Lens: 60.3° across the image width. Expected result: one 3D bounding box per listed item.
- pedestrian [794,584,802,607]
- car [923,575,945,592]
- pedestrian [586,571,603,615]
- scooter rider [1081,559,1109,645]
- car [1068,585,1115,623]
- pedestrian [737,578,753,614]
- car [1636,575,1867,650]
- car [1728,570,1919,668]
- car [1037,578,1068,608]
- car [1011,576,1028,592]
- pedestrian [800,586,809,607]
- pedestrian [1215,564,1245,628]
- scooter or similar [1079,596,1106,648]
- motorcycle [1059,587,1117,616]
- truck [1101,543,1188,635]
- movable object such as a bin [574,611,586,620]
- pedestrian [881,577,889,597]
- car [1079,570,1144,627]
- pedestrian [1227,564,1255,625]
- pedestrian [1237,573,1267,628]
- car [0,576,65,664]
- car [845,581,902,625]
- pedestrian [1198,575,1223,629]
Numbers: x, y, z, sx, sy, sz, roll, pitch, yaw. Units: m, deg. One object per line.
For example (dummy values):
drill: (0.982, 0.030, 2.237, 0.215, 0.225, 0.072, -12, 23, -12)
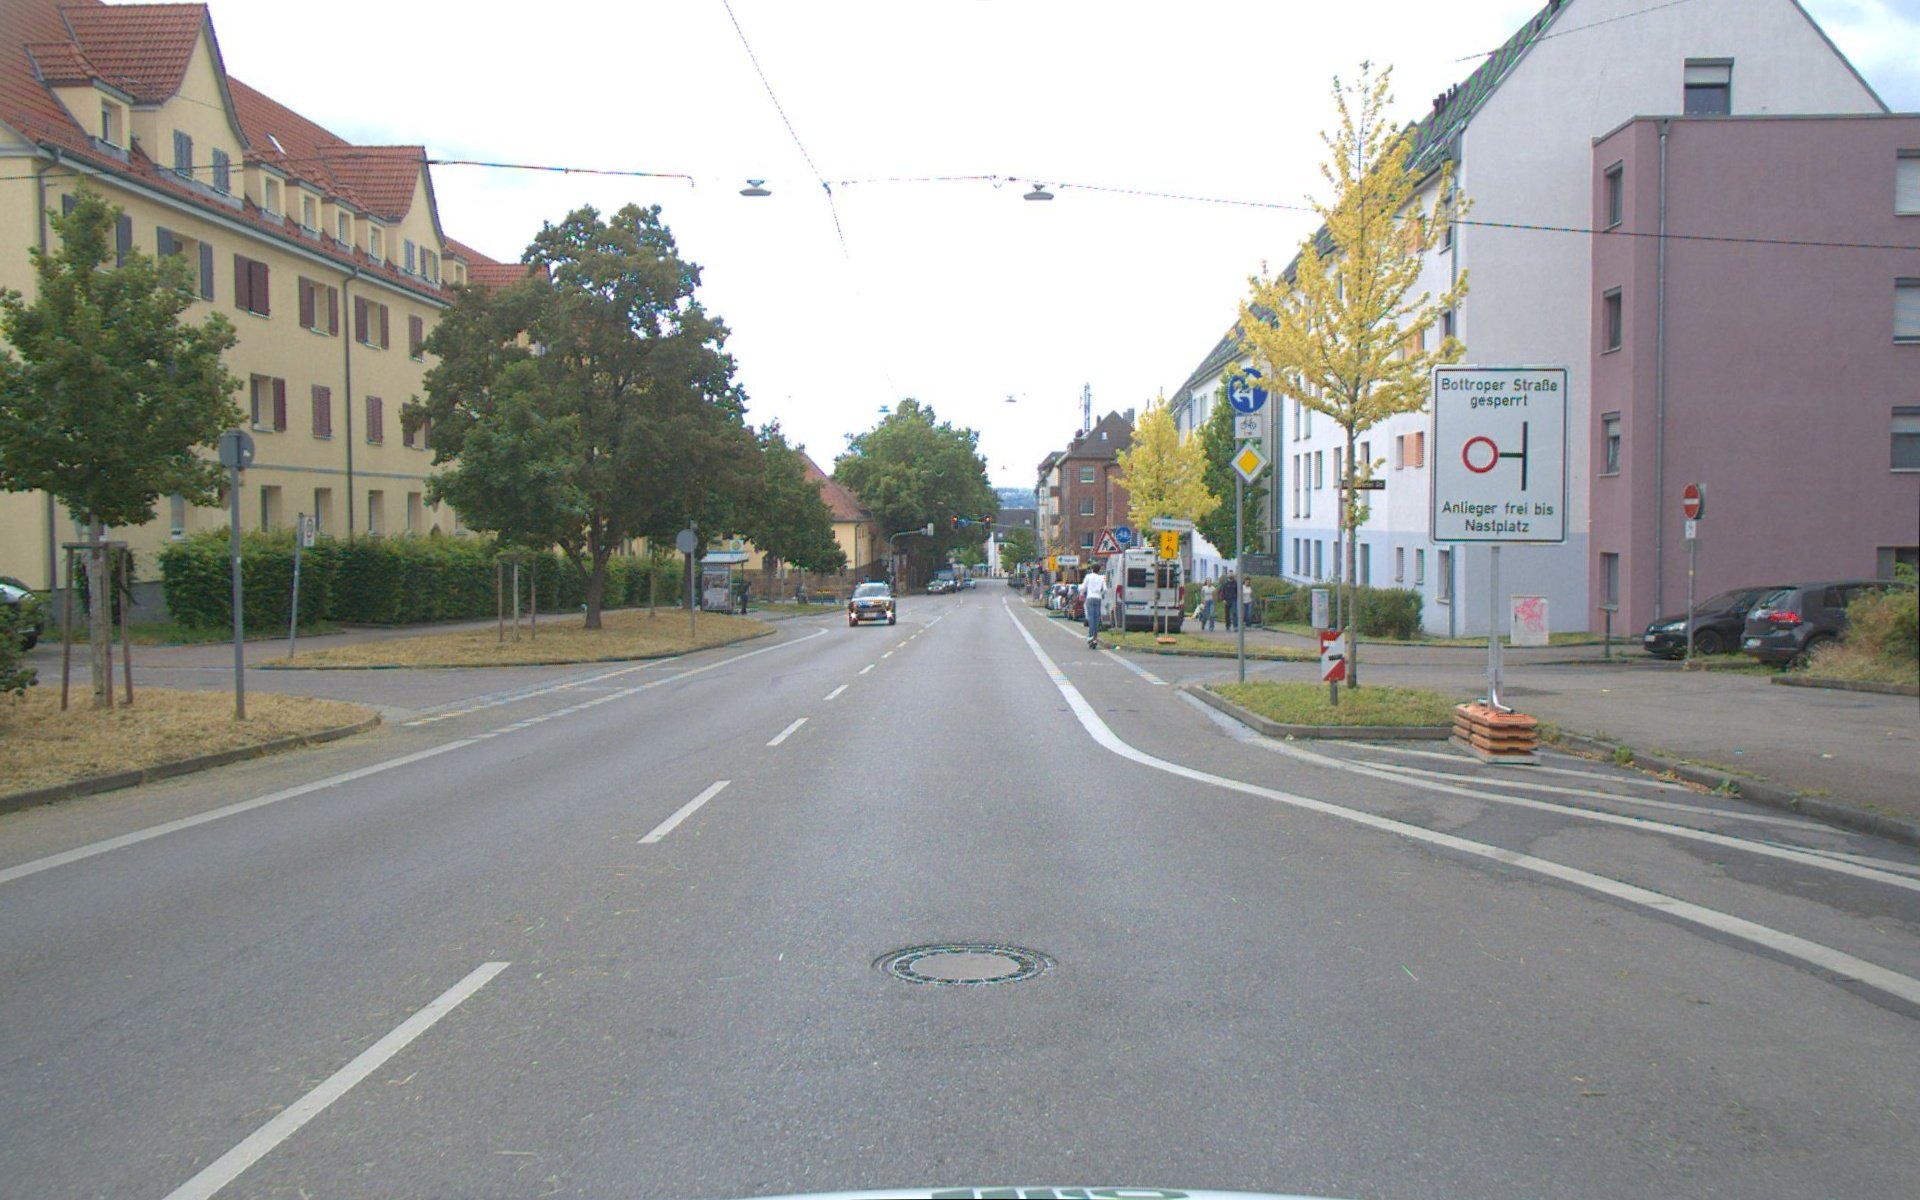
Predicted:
pedestrian: (-13.061, -0.377, 133.036, 0.552, 1.808, 0.717, 0, 1, 1)
car: (-2.447, -1.584, 158.907, 1.719, 1.498, 4.309, -1, 1, 4)
pedestrian: (-14.809, -0.287, 67.056, 0.503, 1.810, 0.753, 0, 1, 1)
scooter rider: (3.237, 0.049, 39.658, 0.612, 2.049, 0.758, 0, 1, 0)
car: (5.691, 0.143, 71.853, 1.646, 1.571, 4.339, 0, 1, 0)
pedestrian: (-10.564, -0.192, 81.257, 0.585, 1.757, 0.861, 1, 0, 3)
car: (16.167, 0.235, 33.933, 3.904, 1.481, 1.761, 0, 1, 2)
car: (14.544, 0.302, 26.257, 3.904, 1.478, 1.688, -1, -1, 1)
car: (5.817, -0.464, 103.960, 1.625, 1.745, 4.552, 1, 1, 0)
car: (7.778, -2.099, 217.354, 1.953, 1.969, 4.918, 0, 1, -2)
pedestrian: (-11.967, -0.249, 127.122, 0.552, 1.594, 0.843, 0, 1, 6)
pedestrian: (8.243, -0.122, 50.488, 0.658, 1.919, 0.764, -1, -1, -11)
scooter or similar: (3.158, 0.517, 39.545, 0.480, 1.183, 2.075, 0, 1, 0)
motorcycle: (5.776, 0.057, 74.927, 2.546, 1.301, 0.753, 0, 1, -3)
truck: (5.506, -0.356, 50.081, 2.010, 2.610, 5.690, 0, 1, 0)
movable object such as a bin: (-15.479, 0.616, 67.302, 0.300, 0.353, 0.582, 0, 1, 6)
pedestrian: (-7.006, -1.221, 155.006, 0.660, 1.796, 0.726, 0, 0, 4)
car: (5.495, -0.094, 60.526, 1.952, 1.978, 5.212, 0, 1, 0)
pedestrian: (8.808, -0.172, 51.875, 0.659, 1.919, 0.618, -1, -1, -16)
pedestrian: (8.955, 0.024, 50.757, 0.645, 1.633, 0.574, -4, 1, -8)
car: (-19.690, 0.367, 31.947, 3.824, 1.556, 1.692, 0, 4, 0)
car: (-3.334, 0.082, 64.652, 1.860, 1.648, 4.363, 0, 1, 2)
pedestrian: (7.780, 0.065, 51.382, 0.566, 1.673, 0.559, -1, -1, -13)
